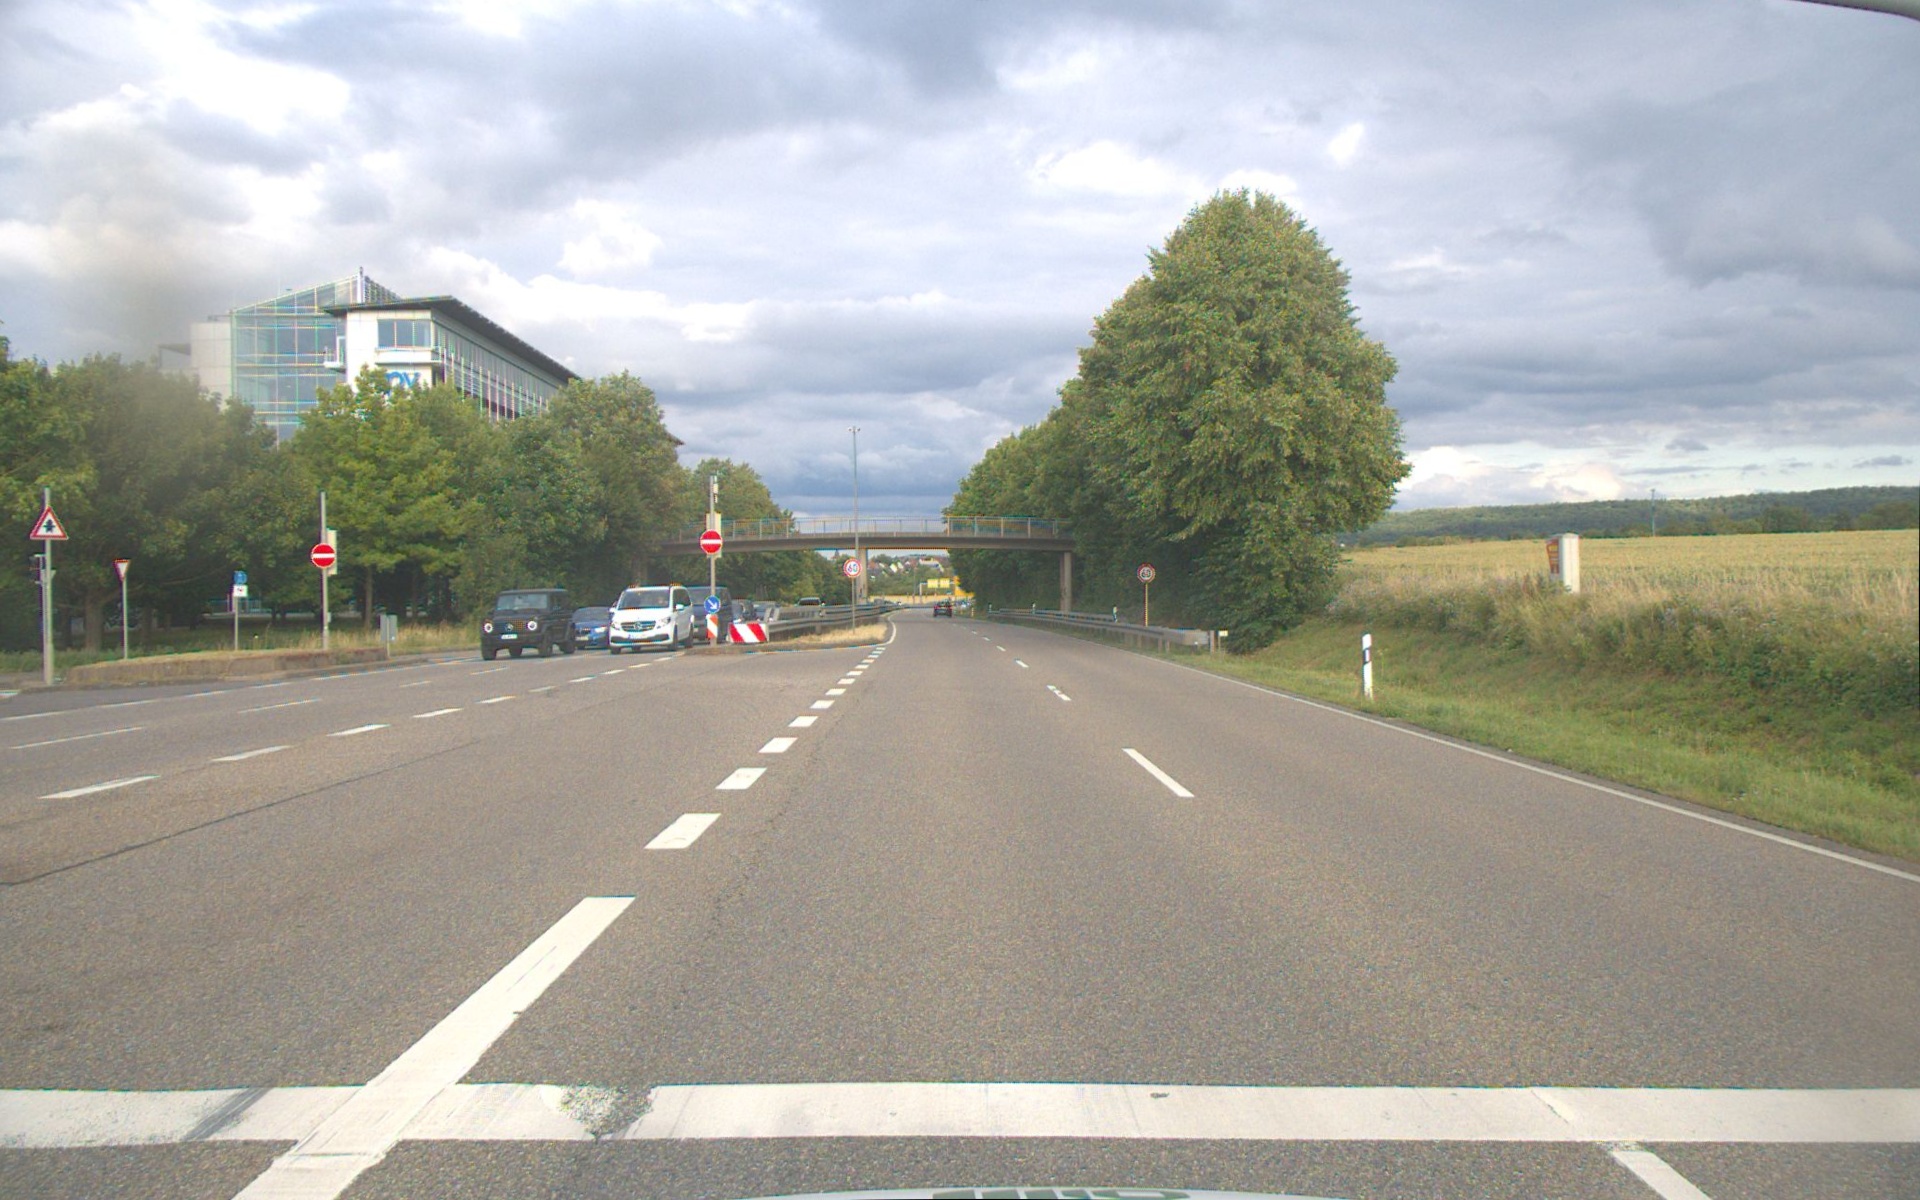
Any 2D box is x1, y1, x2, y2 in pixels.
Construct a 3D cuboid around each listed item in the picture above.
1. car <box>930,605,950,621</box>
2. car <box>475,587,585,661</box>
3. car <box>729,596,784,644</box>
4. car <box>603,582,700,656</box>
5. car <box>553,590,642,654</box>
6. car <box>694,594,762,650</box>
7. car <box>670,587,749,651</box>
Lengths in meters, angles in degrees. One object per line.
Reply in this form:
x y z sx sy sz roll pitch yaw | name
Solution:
-2.028 1.313 165.081 1.842 1.579 3.998 1 0 -3 | car
-12.662 0.679 49.036 2.041 2.049 5.214 1 0 -2 | car
-9.244 0.887 75.477 2.041 2.049 5.214 1 0 -2 | car
-9.102 0.541 49.201 2.041 2.049 5.214 1 0 -2 | car
-12.325 0.725 56.541 2.041 2.049 5.214 1 0 -2 | car
-8.997 0.835 64.502 2.041 2.049 5.214 1 0 -2 | car
-8.561 0.635 56.945 2.041 2.049 5.214 1 0 -2 | car
